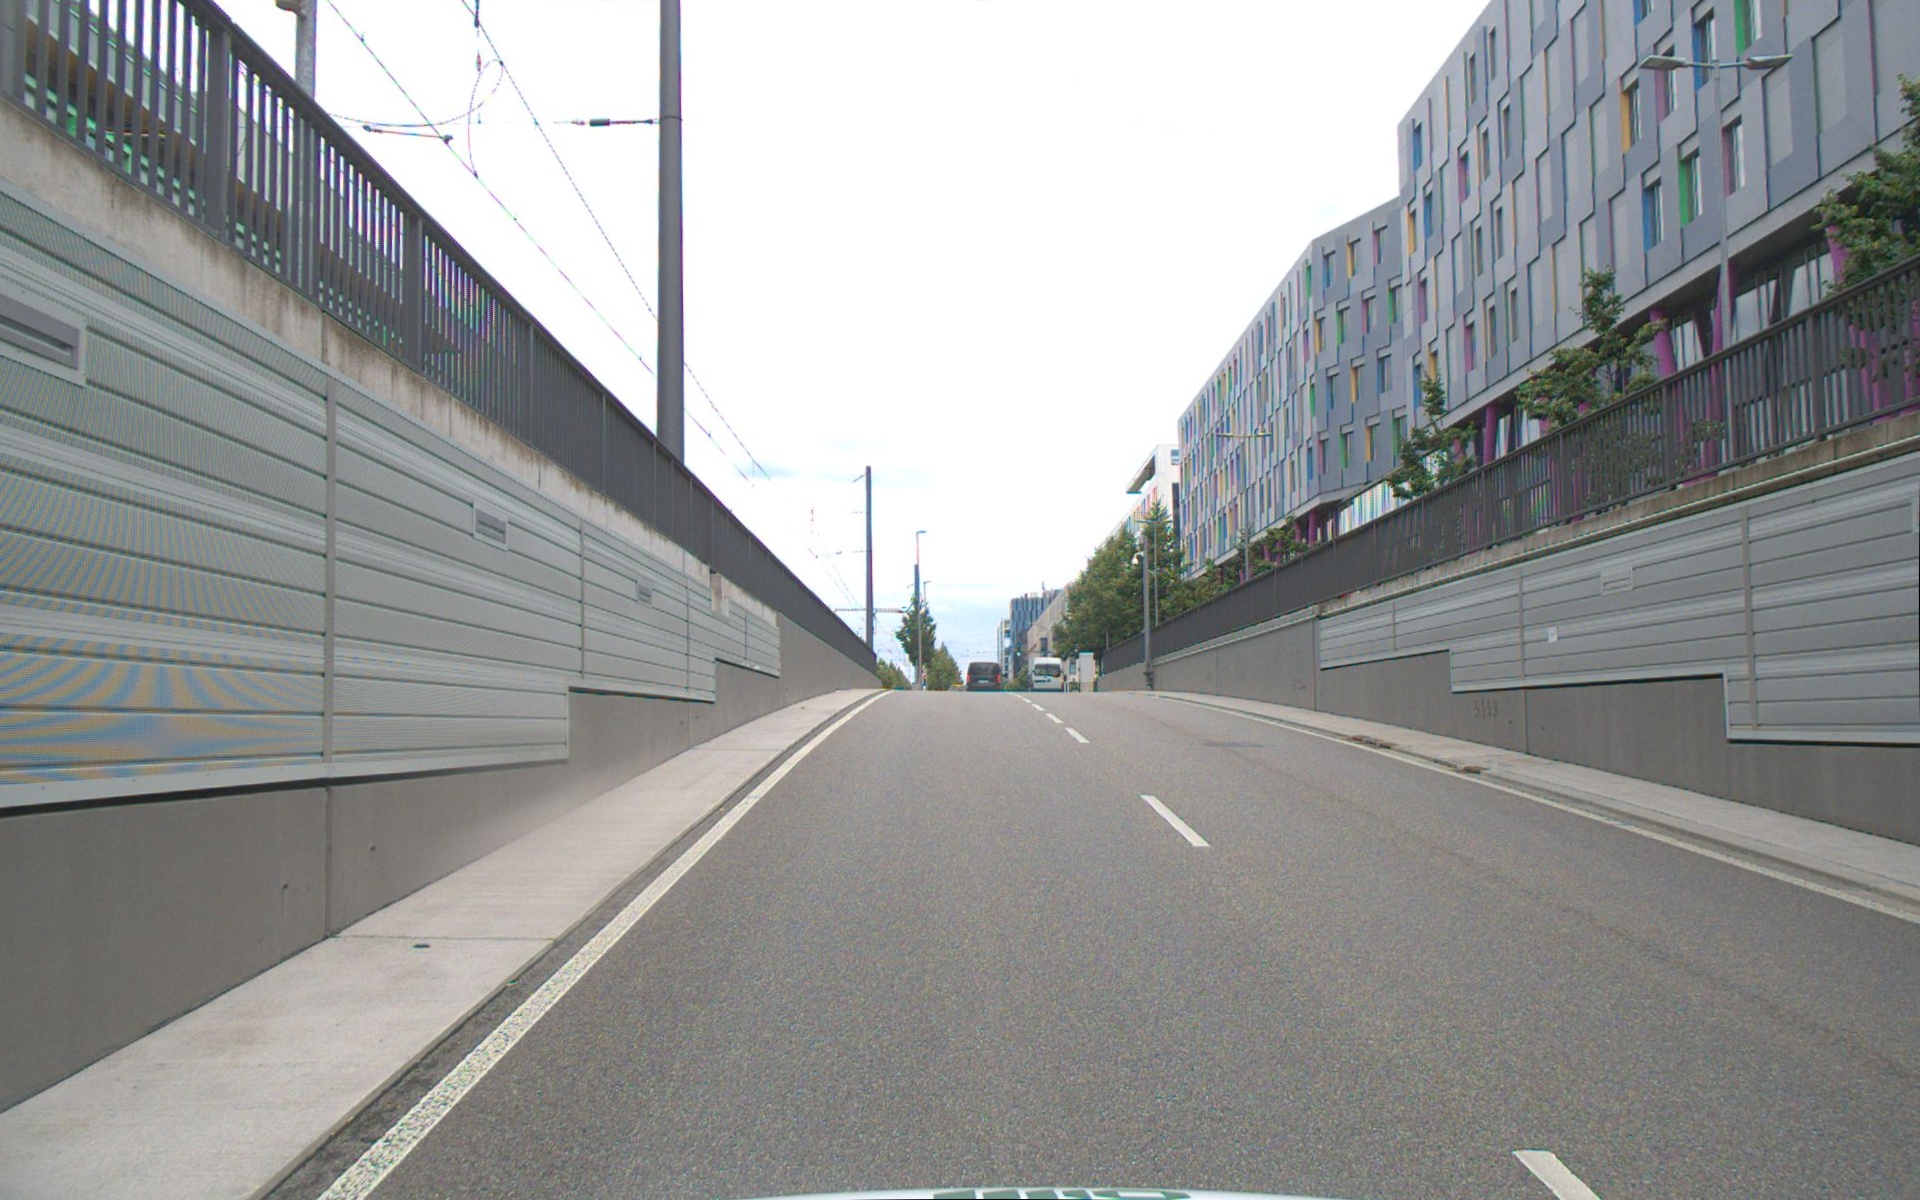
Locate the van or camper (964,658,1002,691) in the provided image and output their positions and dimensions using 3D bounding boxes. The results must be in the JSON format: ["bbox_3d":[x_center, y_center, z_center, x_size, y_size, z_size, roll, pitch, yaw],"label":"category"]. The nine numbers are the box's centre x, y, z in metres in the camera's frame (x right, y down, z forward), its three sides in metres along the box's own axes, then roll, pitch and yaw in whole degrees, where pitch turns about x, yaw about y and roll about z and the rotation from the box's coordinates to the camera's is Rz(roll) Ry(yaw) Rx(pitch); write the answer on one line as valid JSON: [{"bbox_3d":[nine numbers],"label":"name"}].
[{"bbox_3d":[1.189,3.974,87.414,1.952,1.644,4.787,0,-3,0],"label":"van or camper"}]

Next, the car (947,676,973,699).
[{"bbox_3d":[-0.018,6.079,115.066,1.708,1.442,3.998,1,-4,-1],"label":"car"}]

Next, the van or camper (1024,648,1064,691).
[{"bbox_3d":[4.856,4.044,95.987,2.065,2.398,4.922,0,-3,0],"label":"van or camper"}]
